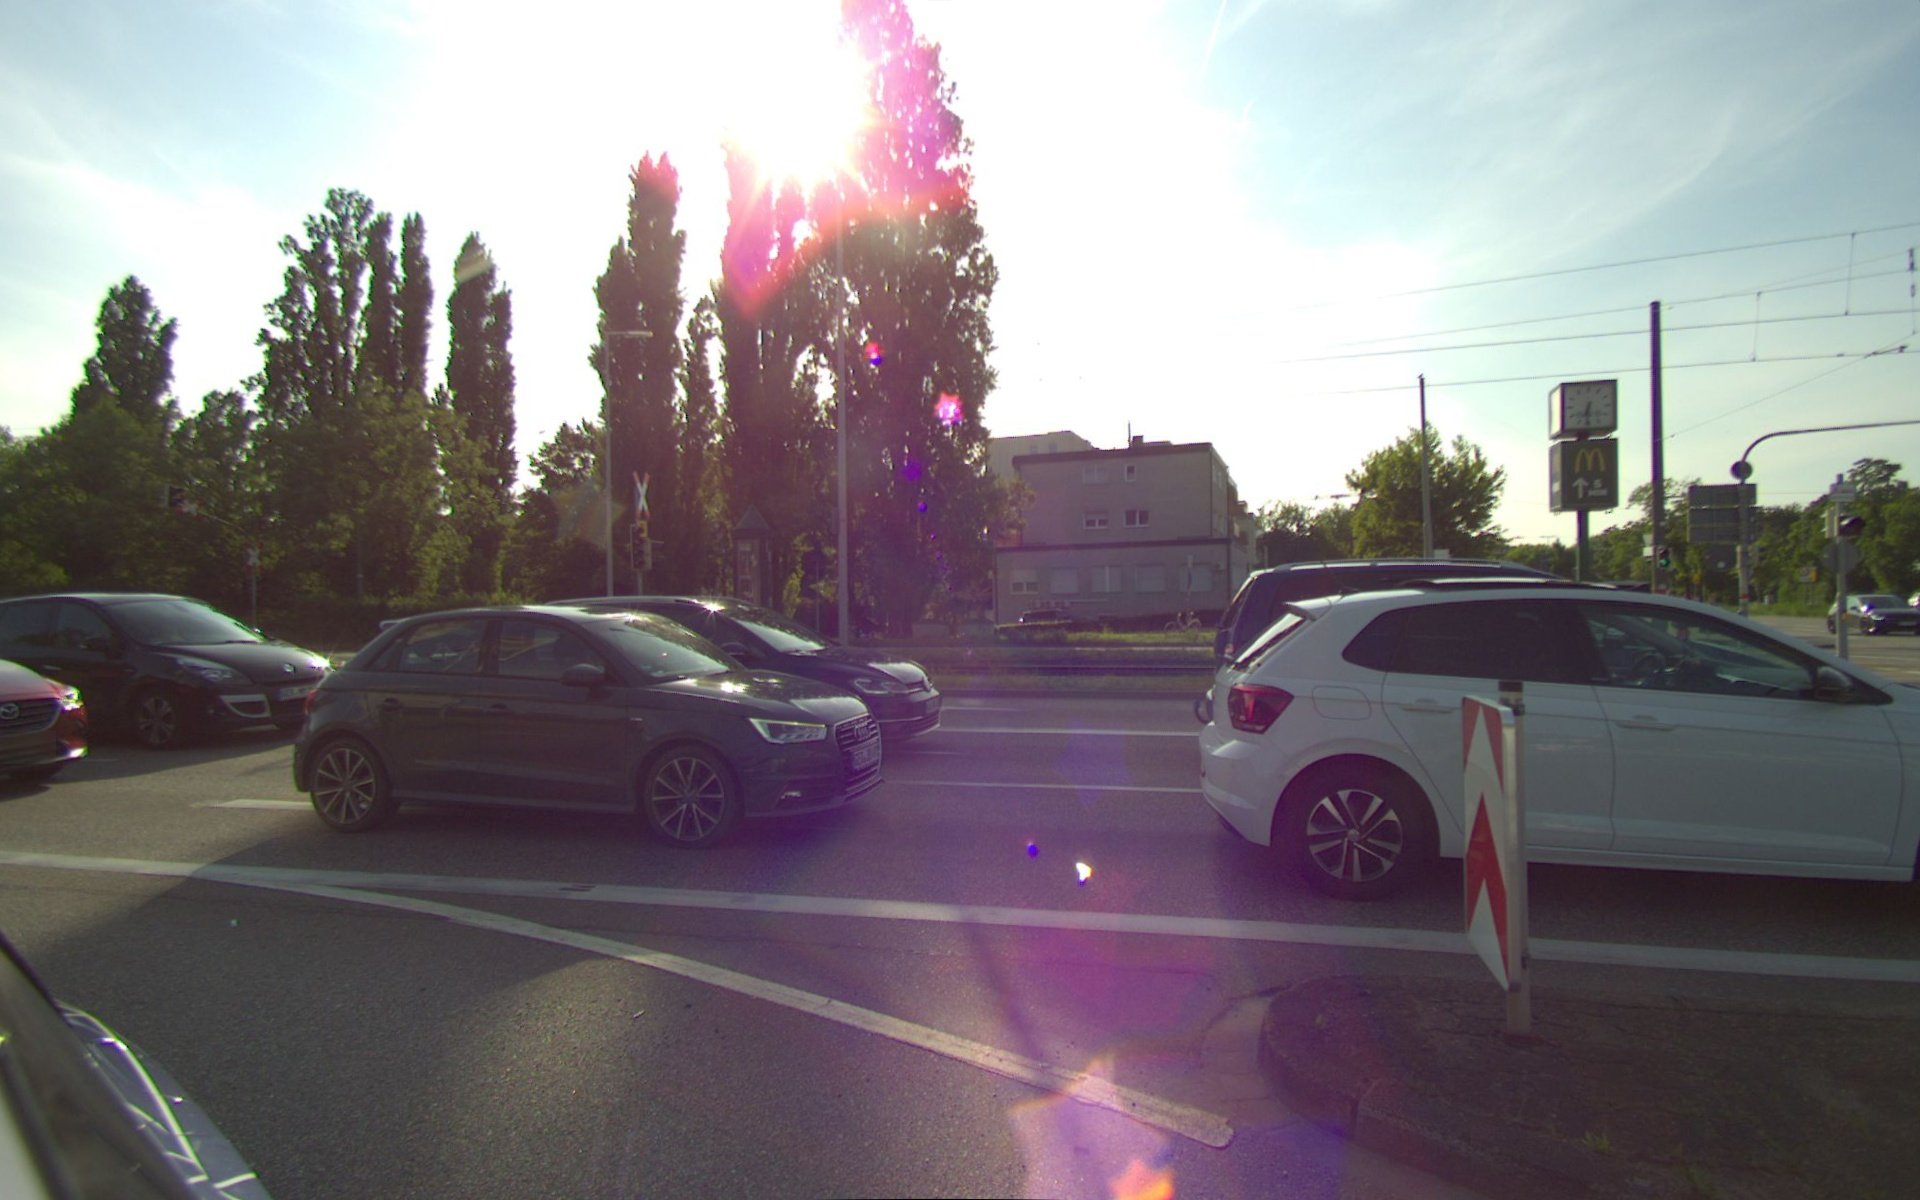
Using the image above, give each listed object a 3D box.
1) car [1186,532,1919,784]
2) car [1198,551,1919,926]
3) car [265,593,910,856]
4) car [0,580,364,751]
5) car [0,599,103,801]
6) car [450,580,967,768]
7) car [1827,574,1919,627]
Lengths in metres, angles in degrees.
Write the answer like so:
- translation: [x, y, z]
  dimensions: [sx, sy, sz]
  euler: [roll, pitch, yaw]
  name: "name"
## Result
- translation: [4.230, 0.440, 8.021]
  dimensions: [4.699, 1.664, 1.504]
  euler: [-1, -1, 15]
  name: "car"
- translation: [3.216, 0.557, 4.902]
  dimensions: [3.975, 1.454, 1.654]
  euler: [-1, -1, 14]
  name: "car"
- translation: [-2.385, 0.711, 6.720]
  dimensions: [3.792, 1.408, 1.639]
  euler: [-1, -1, 15]
  name: "car"
- translation: [-9.044, 0.682, 11.274]
  dimensions: [4.043, 1.683, 1.762]
  euler: [-1, 0, 13]
  name: "car"
- translation: [-9.368, 0.810, 8.197]
  dimensions: [3.937, 1.563, 1.705]
  euler: [-1, -1, 13]
  name: "car"
- translation: [-2.331, 0.635, 9.595]
  dimensions: [4.512, 1.519, 1.697]
  euler: [-1, 0, 16]
  name: "car"
- translation: [32.912, 0.016, 36.078]
  dimensions: [1.506, 1.806, 3.978]
  euler: [-1, 0, 16]
  name: "car"
